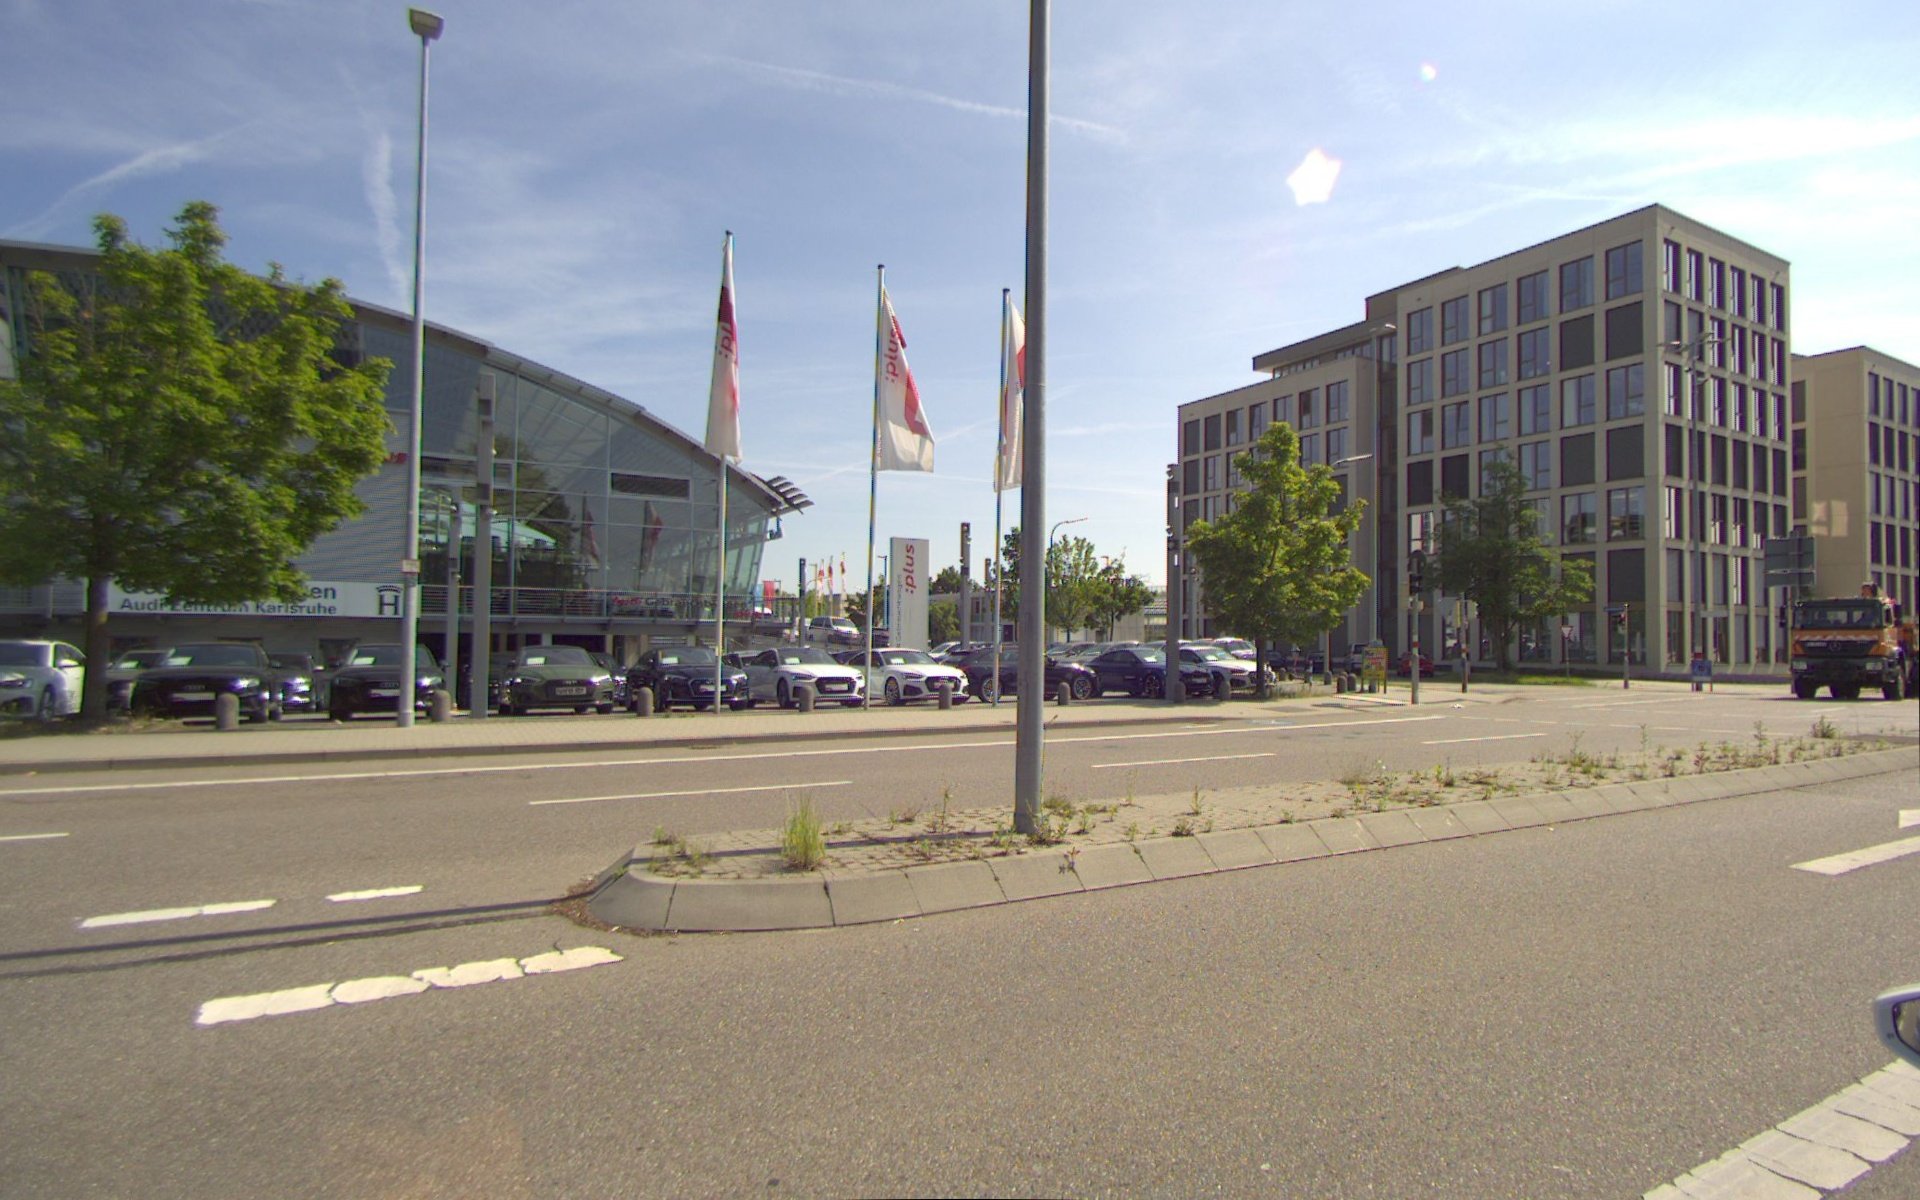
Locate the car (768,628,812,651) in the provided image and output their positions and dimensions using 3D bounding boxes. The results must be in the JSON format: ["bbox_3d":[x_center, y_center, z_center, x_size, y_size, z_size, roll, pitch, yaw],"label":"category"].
[{"bbox_3d":[-12.574,2.920,74.058,1.976,1.595,3.956,2,-1,-29],"label":"car"}]

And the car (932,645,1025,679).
[{"bbox_3d":[0.925,3.031,49.635,4.351,1.461,1.779,0,-2,-31],"label":"car"}]

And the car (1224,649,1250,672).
[{"bbox_3d":[19.609,4.256,71.074,1.655,1.499,4.002,0,-2,17],"label":"car"}]

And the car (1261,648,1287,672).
[{"bbox_3d":[21.367,4.063,68.289,1.628,1.517,3.965,0,-2,17],"label":"car"}]

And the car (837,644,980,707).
[{"bbox_3d":[-1.341,1.849,24.336,1.856,1.387,4.055,2,-5,-30],"label":"car"}]

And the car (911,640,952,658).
[{"bbox_3d":[-3.178,5.526,112.754,4.189,1.965,1.885,2,-3,-30],"label":"car"}]

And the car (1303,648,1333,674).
[{"bbox_3d":[23.098,3.910,64.764,1.772,1.533,4.001,-1,-2,20],"label":"car"}]

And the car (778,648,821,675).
[{"bbox_3d":[-9.028,3.430,56.727,1.762,1.461,4.028,0,-3,-1],"label":"car"}]

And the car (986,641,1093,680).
[{"bbox_3d":[3.606,2.698,45.066,4.620,1.537,1.769,-1,-2,-31],"label":"car"}]

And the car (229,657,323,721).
[{"bbox_3d":[-18.202,2.315,26.874,1.669,1.492,3.802,2,-2,-29],"label":"car"}]

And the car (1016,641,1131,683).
[{"bbox_3d":[4.834,2.571,42.508,4.721,1.525,1.779,-1,-1,-31],"label":"car"}]

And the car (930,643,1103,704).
[{"bbox_3d":[1.527,1.922,26.799,4.373,1.515,1.790,2,-3,-30],"label":"car"}]

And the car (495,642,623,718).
[{"bbox_3d":[-8.202,1.625,20.324,1.833,1.352,4.157,2,-5,-30],"label":"car"}]

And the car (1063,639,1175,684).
[{"bbox_3d":[6.418,2.435,40.513,4.325,1.564,1.779,-1,-2,-31],"label":"car"}]

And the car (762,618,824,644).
[{"bbox_3d":[-14.024,2.629,84.481,4.697,2.040,1.984,2,-3,-31],"label":"car"}]

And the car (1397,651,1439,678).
[{"bbox_3d":[26.787,3.742,58.900,1.772,1.434,4.032,0,-2,18],"label":"car"}]

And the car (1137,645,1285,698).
[{"bbox_3d":[7.349,2.059,29.831,1.876,1.451,4.357,2,-3,-27],"label":"car"}]

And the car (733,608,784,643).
[{"bbox_3d":[-14.694,1.839,72.932,2.063,2.373,5.510,1,-1,-29],"label":"car"}]

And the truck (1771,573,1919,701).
[{"bbox_3d":[29.278,1.252,32.663,7.509,3.728,2.727,2,-3,-37],"label":"truck"}]

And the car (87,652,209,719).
[{"bbox_3d":[-20.517,2.108,25.539,1.783,1.492,3.800,2,-3,-30],"label":"car"}]

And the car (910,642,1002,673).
[{"bbox_3d":[-0.192,2.951,52.118,4.506,1.461,1.779,0,-2,-31],"label":"car"}]

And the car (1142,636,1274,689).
[{"bbox_3d":[8.812,2.166,35.585,4.540,1.635,1.806,-1,-1,-30],"label":"car"}]

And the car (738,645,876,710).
[{"bbox_3d":[-3.591,1.780,23.015,1.846,1.336,3.971,2,-5,-29],"label":"car"}]

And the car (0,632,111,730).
[{"bbox_3d":[-15.259,1.316,16.065,1.781,1.412,4.198,2,-5,-30],"label":"car"}]

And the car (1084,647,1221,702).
[{"bbox_3d":[5.353,2.038,28.345,1.744,1.421,3.815,2,-3,-31],"label":"car"}]

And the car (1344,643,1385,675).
[{"bbox_3d":[24.927,3.584,62.072,1.860,1.845,4.817,0,-2,16],"label":"car"}]

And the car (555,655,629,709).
[{"bbox_3d":[-11.261,2.456,30.642,1.506,1.492,3.491,2,-3,-30],"label":"car"}]

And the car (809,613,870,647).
[{"bbox_3d":[-7.734,1.900,63.981,2.066,1.932,4.509,6,-4,-31],"label":"car"}]

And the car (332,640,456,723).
[{"bbox_3d":[-10.691,1.538,18.924,1.809,1.371,4.261,2,-5,-31],"label":"car"}]

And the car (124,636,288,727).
[{"bbox_3d":[-12.959,1.425,17.509,1.814,1.371,4.091,2,-5,-31],"label":"car"}]

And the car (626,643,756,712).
[{"bbox_3d":[-5.844,1.671,21.535,1.815,1.336,3.972,2,-5,-28],"label":"car"}]

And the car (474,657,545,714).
[{"bbox_3d":[-13.257,2.443,29.455,1.506,1.492,3.491,2,-3,-30],"label":"car"}]

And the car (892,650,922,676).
[{"bbox_3d":[-3.163,3.737,59.823,1.763,1.461,4.027,1,-3,-3],"label":"car"}]

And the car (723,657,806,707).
[{"bbox_3d":[-6.566,2.693,33.508,1.641,1.492,3.490,2,-3,-31],"label":"car"}]
